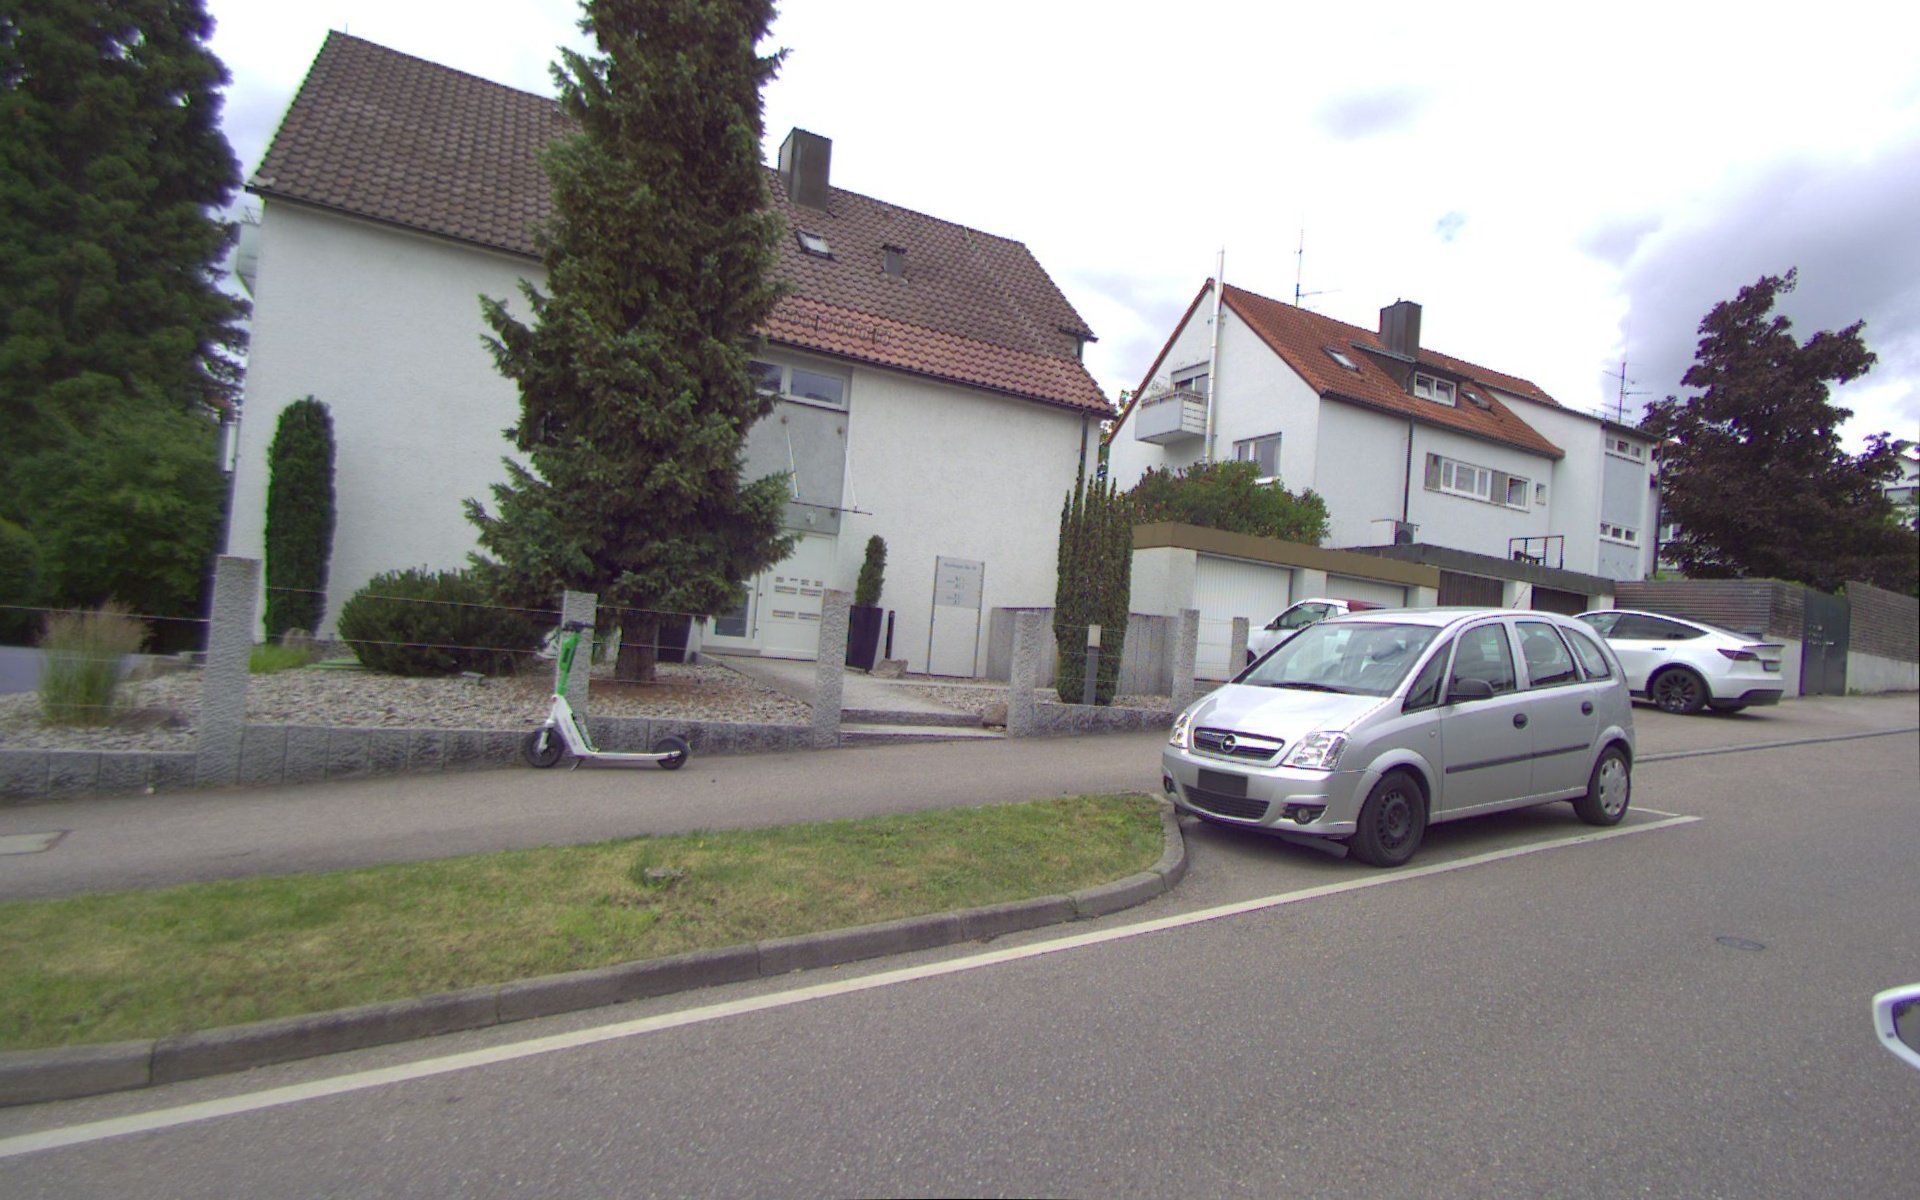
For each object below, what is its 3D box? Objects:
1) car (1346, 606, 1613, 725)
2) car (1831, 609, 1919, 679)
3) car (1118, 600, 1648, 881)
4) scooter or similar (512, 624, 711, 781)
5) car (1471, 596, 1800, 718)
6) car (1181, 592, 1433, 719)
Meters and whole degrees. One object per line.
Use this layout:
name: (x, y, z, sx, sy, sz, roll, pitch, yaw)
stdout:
car: (8.225, 0.975, 16.180, 1.672, 1.532, 3.413, 3, 1, -29)
car: (27.900, 1.294, 28.729, 1.972, 1.975, 4.064, 3, -1, -22)
car: (3.200, 0.849, 7.433, 3.812, 1.583, 1.751, 2, -1, -32)
scooter or similar: (-2.734, 0.801, 7.992, 1.430, 1.164, 0.474, 2, 2, -15)
car: (11.716, 0.894, 17.765, 1.889, 1.651, 4.387, 2, 2, -31)
car: (5.237, 0.783, 15.568, 1.637, 1.599, 3.413, 3, 1, -29)
